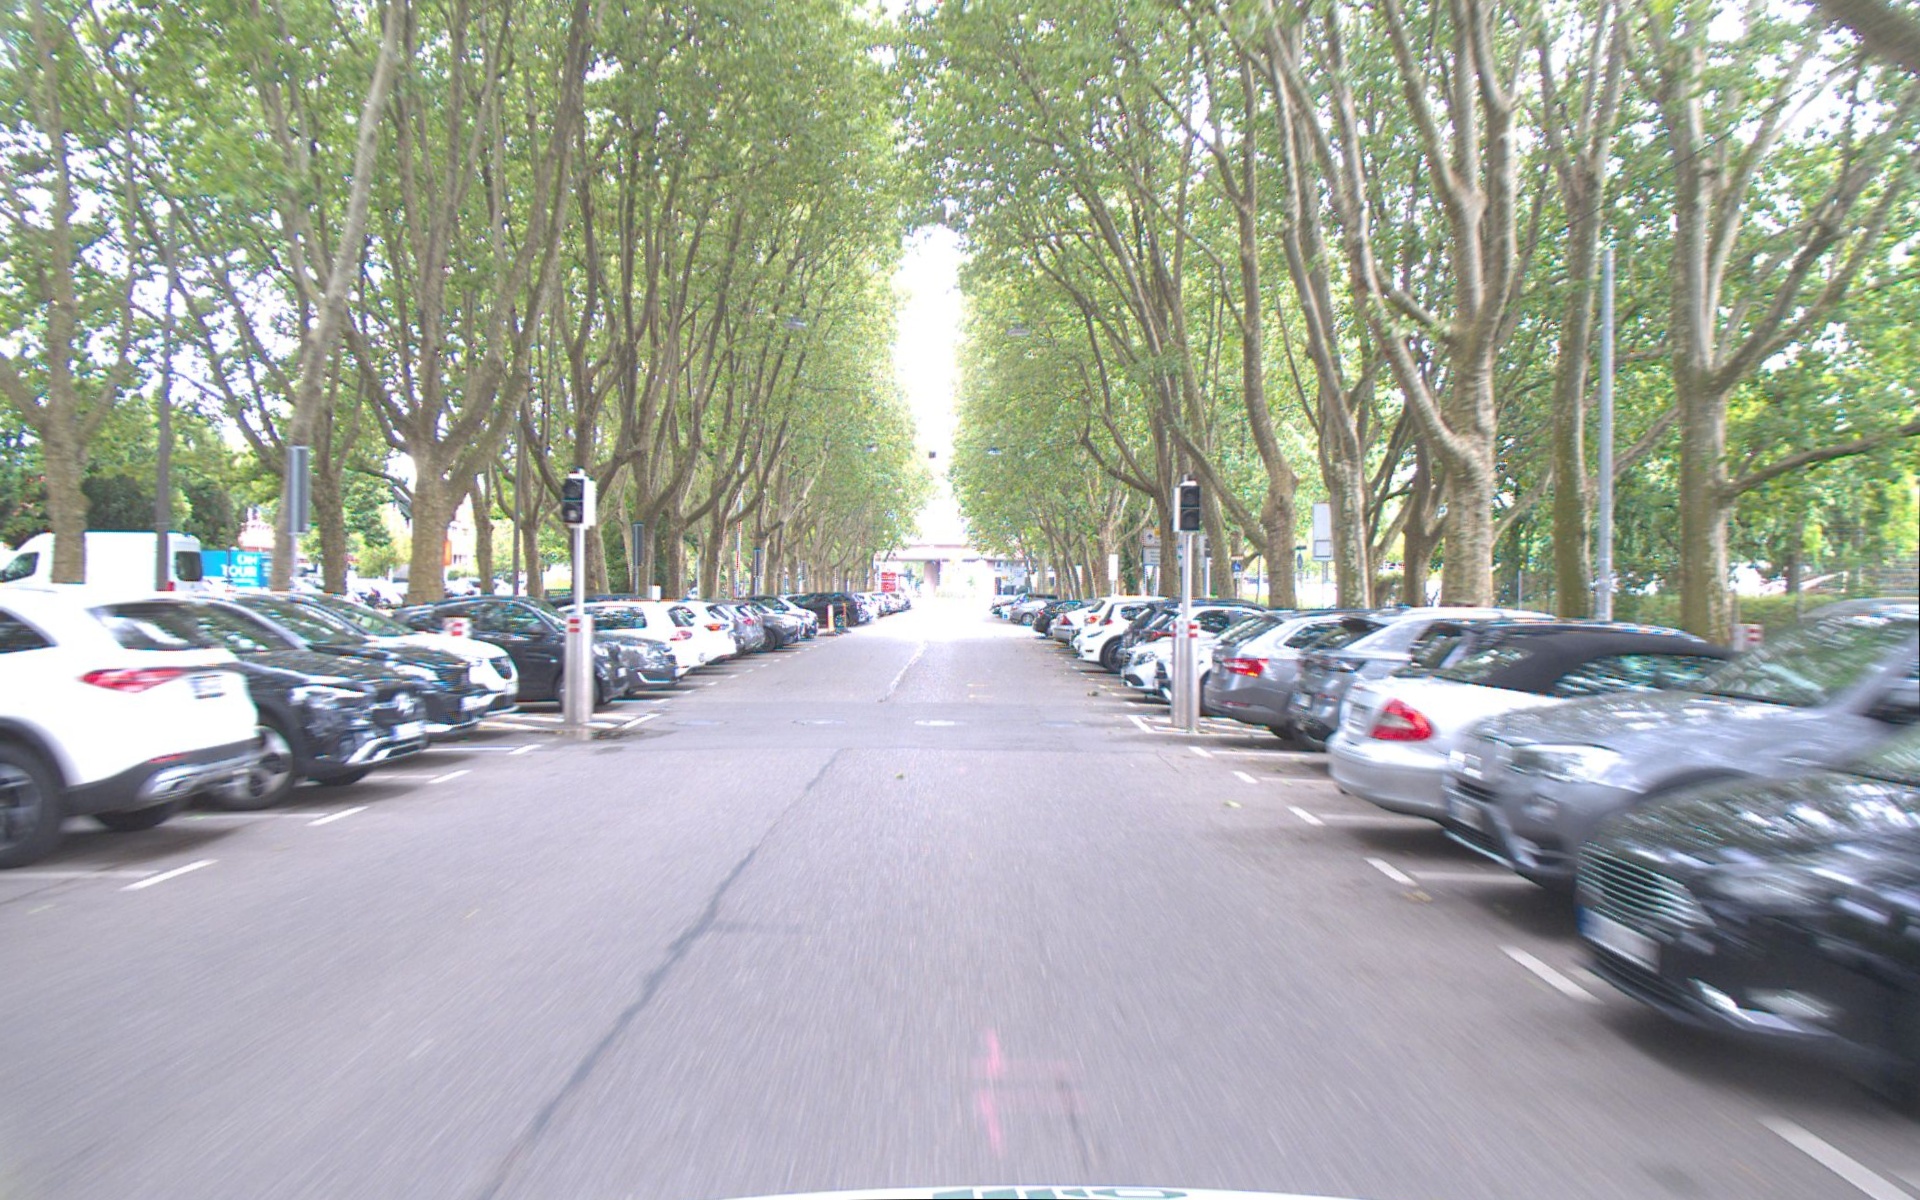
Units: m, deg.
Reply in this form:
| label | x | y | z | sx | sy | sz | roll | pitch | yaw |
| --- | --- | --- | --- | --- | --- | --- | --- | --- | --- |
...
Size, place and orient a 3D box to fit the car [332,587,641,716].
| label | x | y | z | sx | sy | sz | roll | pitch | yaw |
| --- | --- | --- | --- | --- | --- | --- | --- | --- | --- |
| car | -6.404 | 0.676 | 22.663 | 3.750 | 1.636 | 1.693 | -1 | 0 | -3 |

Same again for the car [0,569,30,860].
| label | x | y | z | sx | sy | sz | roll | pitch | yaw |
| --- | --- | --- | --- | --- | --- | --- | --- | --- | --- |
| car | -6.797 | 0.621 | 7.851 | 3.750 | 1.497 | 1.693 | -1 | 0 | -3 |

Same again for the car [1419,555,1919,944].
| label | x | y | z | sx | sy | sz | roll | pitch | yaw |
| --- | --- | --- | --- | --- | --- | --- | --- | --- | --- |
| car | 4.564 | 0.703 | 8.289 | 4.029 | 1.699 | 1.694 | 2 | 0 | 0 |

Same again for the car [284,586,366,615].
| label | x | y | z | sx | sy | sz | roll | pitch | yaw |
| --- | --- | --- | --- | --- | --- | --- | --- | --- | --- |
| car | -33.150 | 0.016 | 86.407 | 3.680 | 1.373 | 1.535 | 2 | 0 | -3 |

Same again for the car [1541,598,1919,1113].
| label | x | y | z | sx | sy | sz | roll | pitch | yaw |
| --- | --- | --- | --- | --- | --- | --- | --- | --- | --- |
| car | 4.341 | 0.794 | 5.652 | 4.126 | 1.476 | 1.610 | 2 | 0 | -2 |

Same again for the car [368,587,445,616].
| label | x | y | z | sx | sy | sz | roll | pitch | yaw |
| --- | --- | --- | --- | --- | --- | --- | --- | --- | --- |
| car | -32.630 | 0.096 | 97.514 | 3.902 | 1.617 | 1.695 | 2 | 0 | 8 |

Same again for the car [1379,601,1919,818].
| label | x | y | z | sx | sy | sz | roll | pitch | yaw |
| --- | --- | --- | --- | --- | --- | --- | --- | --- | --- |
| car | 5.365 | 0.809 | 13.059 | 3.698 | 1.495 | 1.624 | 2 | 0 | 1 |

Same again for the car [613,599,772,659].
| label | x | y | z | sx | sy | sz | roll | pitch | yaw |
| --- | --- | --- | --- | --- | --- | --- | --- | --- | --- |
| car | -6.873 | 0.748 | 42.723 | 3.746 | 1.455 | 1.695 | -1 | 0 | 4 |

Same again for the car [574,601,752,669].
| label | x | y | z | sx | sy | sz | roll | pitch | yaw |
| --- | --- | --- | --- | --- | --- | --- | --- | --- | --- |
| car | -6.743 | 0.777 | 37.807 | 3.749 | 1.455 | 1.801 | -1 | 0 | -2 |

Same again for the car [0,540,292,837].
| label | x | y | z | sx | sy | sz | roll | pitch | yaw |
| --- | --- | --- | --- | --- | --- | --- | --- | --- | --- |
| car | -6.409 | 0.522 | 10.235 | 3.750 | 1.656 | 1.952 | -1 | 0 | -3 |

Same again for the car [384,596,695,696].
| label | x | y | z | sx | sy | sz | roll | pitch | yaw |
| --- | --- | --- | --- | --- | --- | --- | --- | --- | --- |
| car | -6.311 | 0.668 | 25.179 | 4.313 | 1.388 | 1.693 | -1 | 0 | -3 |

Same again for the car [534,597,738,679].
| label | x | y | z | sx | sy | sz | roll | pitch | yaw |
| --- | --- | --- | --- | --- | --- | --- | --- | --- | --- |
| car | -6.406 | 0.734 | 33.007 | 3.750 | 1.523 | 1.693 | -1 | 0 | -3 |

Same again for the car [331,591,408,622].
| label | x | y | z | sx | sy | sz | roll | pitch | yaw |
| --- | --- | --- | --- | --- | --- | --- | --- | --- | --- |
| car | -32.691 | 0.354 | 91.651 | 3.680 | 1.617 | 1.535 | 2 | 0 | -3 |

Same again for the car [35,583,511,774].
| label | x | y | z | sx | sy | sz | roll | pitch | yaw |
| --- | --- | --- | --- | --- | --- | --- | --- | --- | --- |
| car | -6.391 | 0.698 | 15.736 | 3.750 | 1.636 | 1.833 | -1 | 0 | -3 |

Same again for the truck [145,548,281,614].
| label | x | y | z | sx | sy | sz | roll | pitch | yaw |
| --- | --- | --- | --- | --- | --- | --- | --- | --- | --- |
| truck | -33.868 | -0.860 | 75.120 | 5.204 | 2.790 | 1.928 | 2 | 0 | 0 |

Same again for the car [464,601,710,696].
| label | x | y | z | sx | sy | sz | roll | pitch | yaw |
| --- | --- | --- | --- | --- | --- | --- | --- | --- | --- |
| car | -6.177 | 0.785 | 27.703 | 3.750 | 1.455 | 1.693 | -1 | 0 | -3 |

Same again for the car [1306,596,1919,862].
| label | x | y | z | sx | sy | sz | roll | pitch | yaw |
| --- | --- | --- | --- | --- | --- | --- | --- | --- | --- |
| car | 4.452 | 0.784 | 10.757 | 4.029 | 1.495 | 1.694 | 2 | 0 | 0 |

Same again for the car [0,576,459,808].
| label | x | y | z | sx | sy | sz | roll | pitch | yaw |
| --- | --- | --- | --- | --- | --- | --- | --- | --- | --- |
| car | -6.200 | 0.678 | 12.897 | 3.983 | 1.636 | 1.800 | -1 | 0 | 2 |

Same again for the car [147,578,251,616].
| label | x | y | z | sx | sy | sz | roll | pitch | yaw |
| --- | --- | --- | --- | --- | --- | --- | --- | --- | --- |
| car | -33.233 | -0.135 | 72.293 | 3.725 | 1.512 | 1.712 | 2 | 0 | -2 |

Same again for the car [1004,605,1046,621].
| label | x | y | z | sx | sy | sz | roll | pitch | yaw |
| --- | --- | --- | --- | --- | --- | --- | --- | --- | --- |
| car | 6.618 | 1.301 | 169.311 | 4.286 | 1.549 | 1.731 | 1 | 0 | 1 |

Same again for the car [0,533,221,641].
| label | x | y | z | sx | sy | sz | roll | pitch | yaw |
| --- | --- | --- | --- | --- | --- | --- | --- | --- | --- |
| car | -22.910 | -0.349 | 43.850 | 5.667 | 2.642 | 2.000 | 2 | 0 | 0 |

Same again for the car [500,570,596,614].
| label | x | y | z | sx | sy | sz | roll | pitch | yaw |
| --- | --- | --- | --- | --- | --- | --- | --- | --- | --- |
| car | -23.162 | -0.453 | 93.094 | 4.975 | 2.271 | 1.535 | 2 | 0 | -2 |

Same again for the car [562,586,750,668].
| label | x | y | z | sx | sy | sz | roll | pitch | yaw |
| --- | --- | --- | --- | --- | --- | --- | --- | --- | --- |
| car | -6.505 | 0.562 | 35.674 | 3.751 | 1.636 | 1.857 | -1 | 0 | -4 |

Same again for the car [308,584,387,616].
| label | x | y | z | sx | sy | sz | roll | pitch | yaw |
| --- | --- | --- | --- | --- | --- | --- | --- | --- | --- |
| car | -33.002 | 0.015 | 89.178 | 3.680 | 1.617 | 1.535 | 2 | 0 | -3 |

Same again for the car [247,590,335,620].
| label | x | y | z | sx | sy | sz | roll | pitch | yaw |
| --- | --- | --- | --- | --- | --- | --- | --- | --- | --- |
| car | -33.091 | 0.229 | 81.865 | 3.679 | 1.373 | 1.535 | 2 | 0 | -2 |

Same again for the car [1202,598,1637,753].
| label | x | y | z | sx | sy | sz | roll | pitch | yaw |
| --- | --- | --- | --- | --- | --- | --- | --- | --- | --- |
| car | 4.929 | 0.793 | 18.100 | 4.277 | 1.495 | 1.623 | 2 | 0 | -1 |

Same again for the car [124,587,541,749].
| label | x | y | z | sx | sy | sz | roll | pitch | yaw |
| --- | --- | --- | --- | --- | --- | --- | --- | --- | --- |
| car | -6.847 | 0.720 | 18.363 | 3.963 | 1.636 | 1.693 | -1 | -1 | -3 |

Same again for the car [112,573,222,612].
| label | x | y | z | sx | sy | sz | roll | pitch | yaw |
| --- | --- | --- | --- | --- | --- | --- | --- | --- | --- |
| car | -33.213 | -0.305 | 69.333 | 3.725 | 1.512 | 1.678 | 2 | 0 | -2 |

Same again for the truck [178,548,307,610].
| label | x | y | z | sx | sy | sz | roll | pitch | yaw |
| --- | --- | --- | --- | --- | --- | --- | --- | --- | --- |
| truck | -34.411 | -1.012 | 79.425 | 5.129 | 2.790 | 2.206 | 2 | 0 | 0 |

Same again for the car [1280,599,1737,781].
| label | x | y | z | sx | sy | sz | roll | pitch | yaw |
| --- | --- | --- | --- | --- | --- | --- | --- | --- | --- |
| car | 5.016 | 0.797 | 15.463 | 3.699 | 1.495 | 1.667 | 2 | 0 | -1 |
